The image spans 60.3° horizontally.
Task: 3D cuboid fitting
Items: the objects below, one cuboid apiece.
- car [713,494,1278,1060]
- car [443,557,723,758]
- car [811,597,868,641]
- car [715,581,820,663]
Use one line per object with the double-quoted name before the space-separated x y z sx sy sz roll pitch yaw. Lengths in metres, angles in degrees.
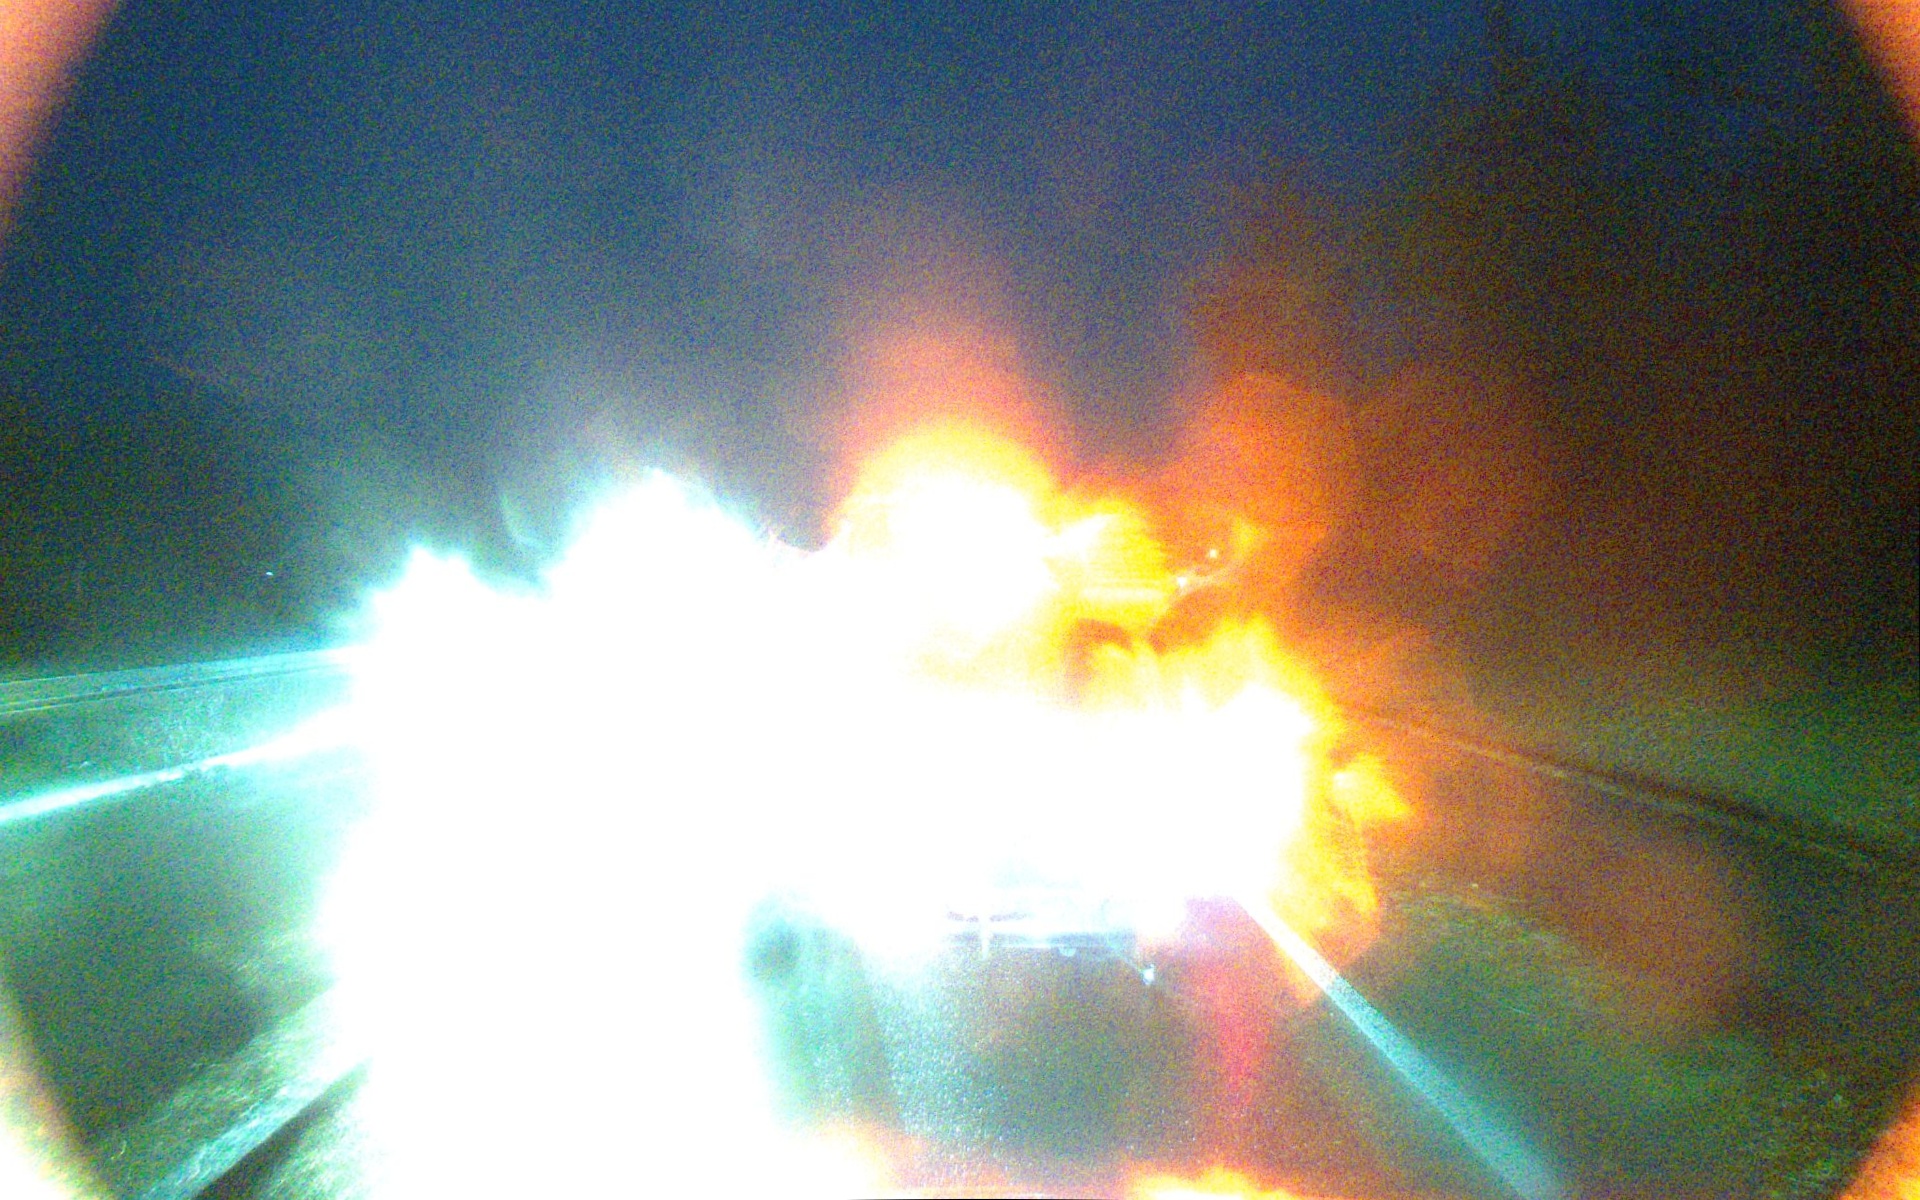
"car" 0.104 0.559 7.148 1.739 1.742 3.999 1 0 0
"car" -3.481 0.470 16.073 1.912 1.685 4.122 -1 0 -2
"car" -4.447 0.666 61.554 1.865 1.495 4.273 2 0 -2
"car" -3.967 0.406 34.713 1.800 1.573 4.256 1 1 -2
